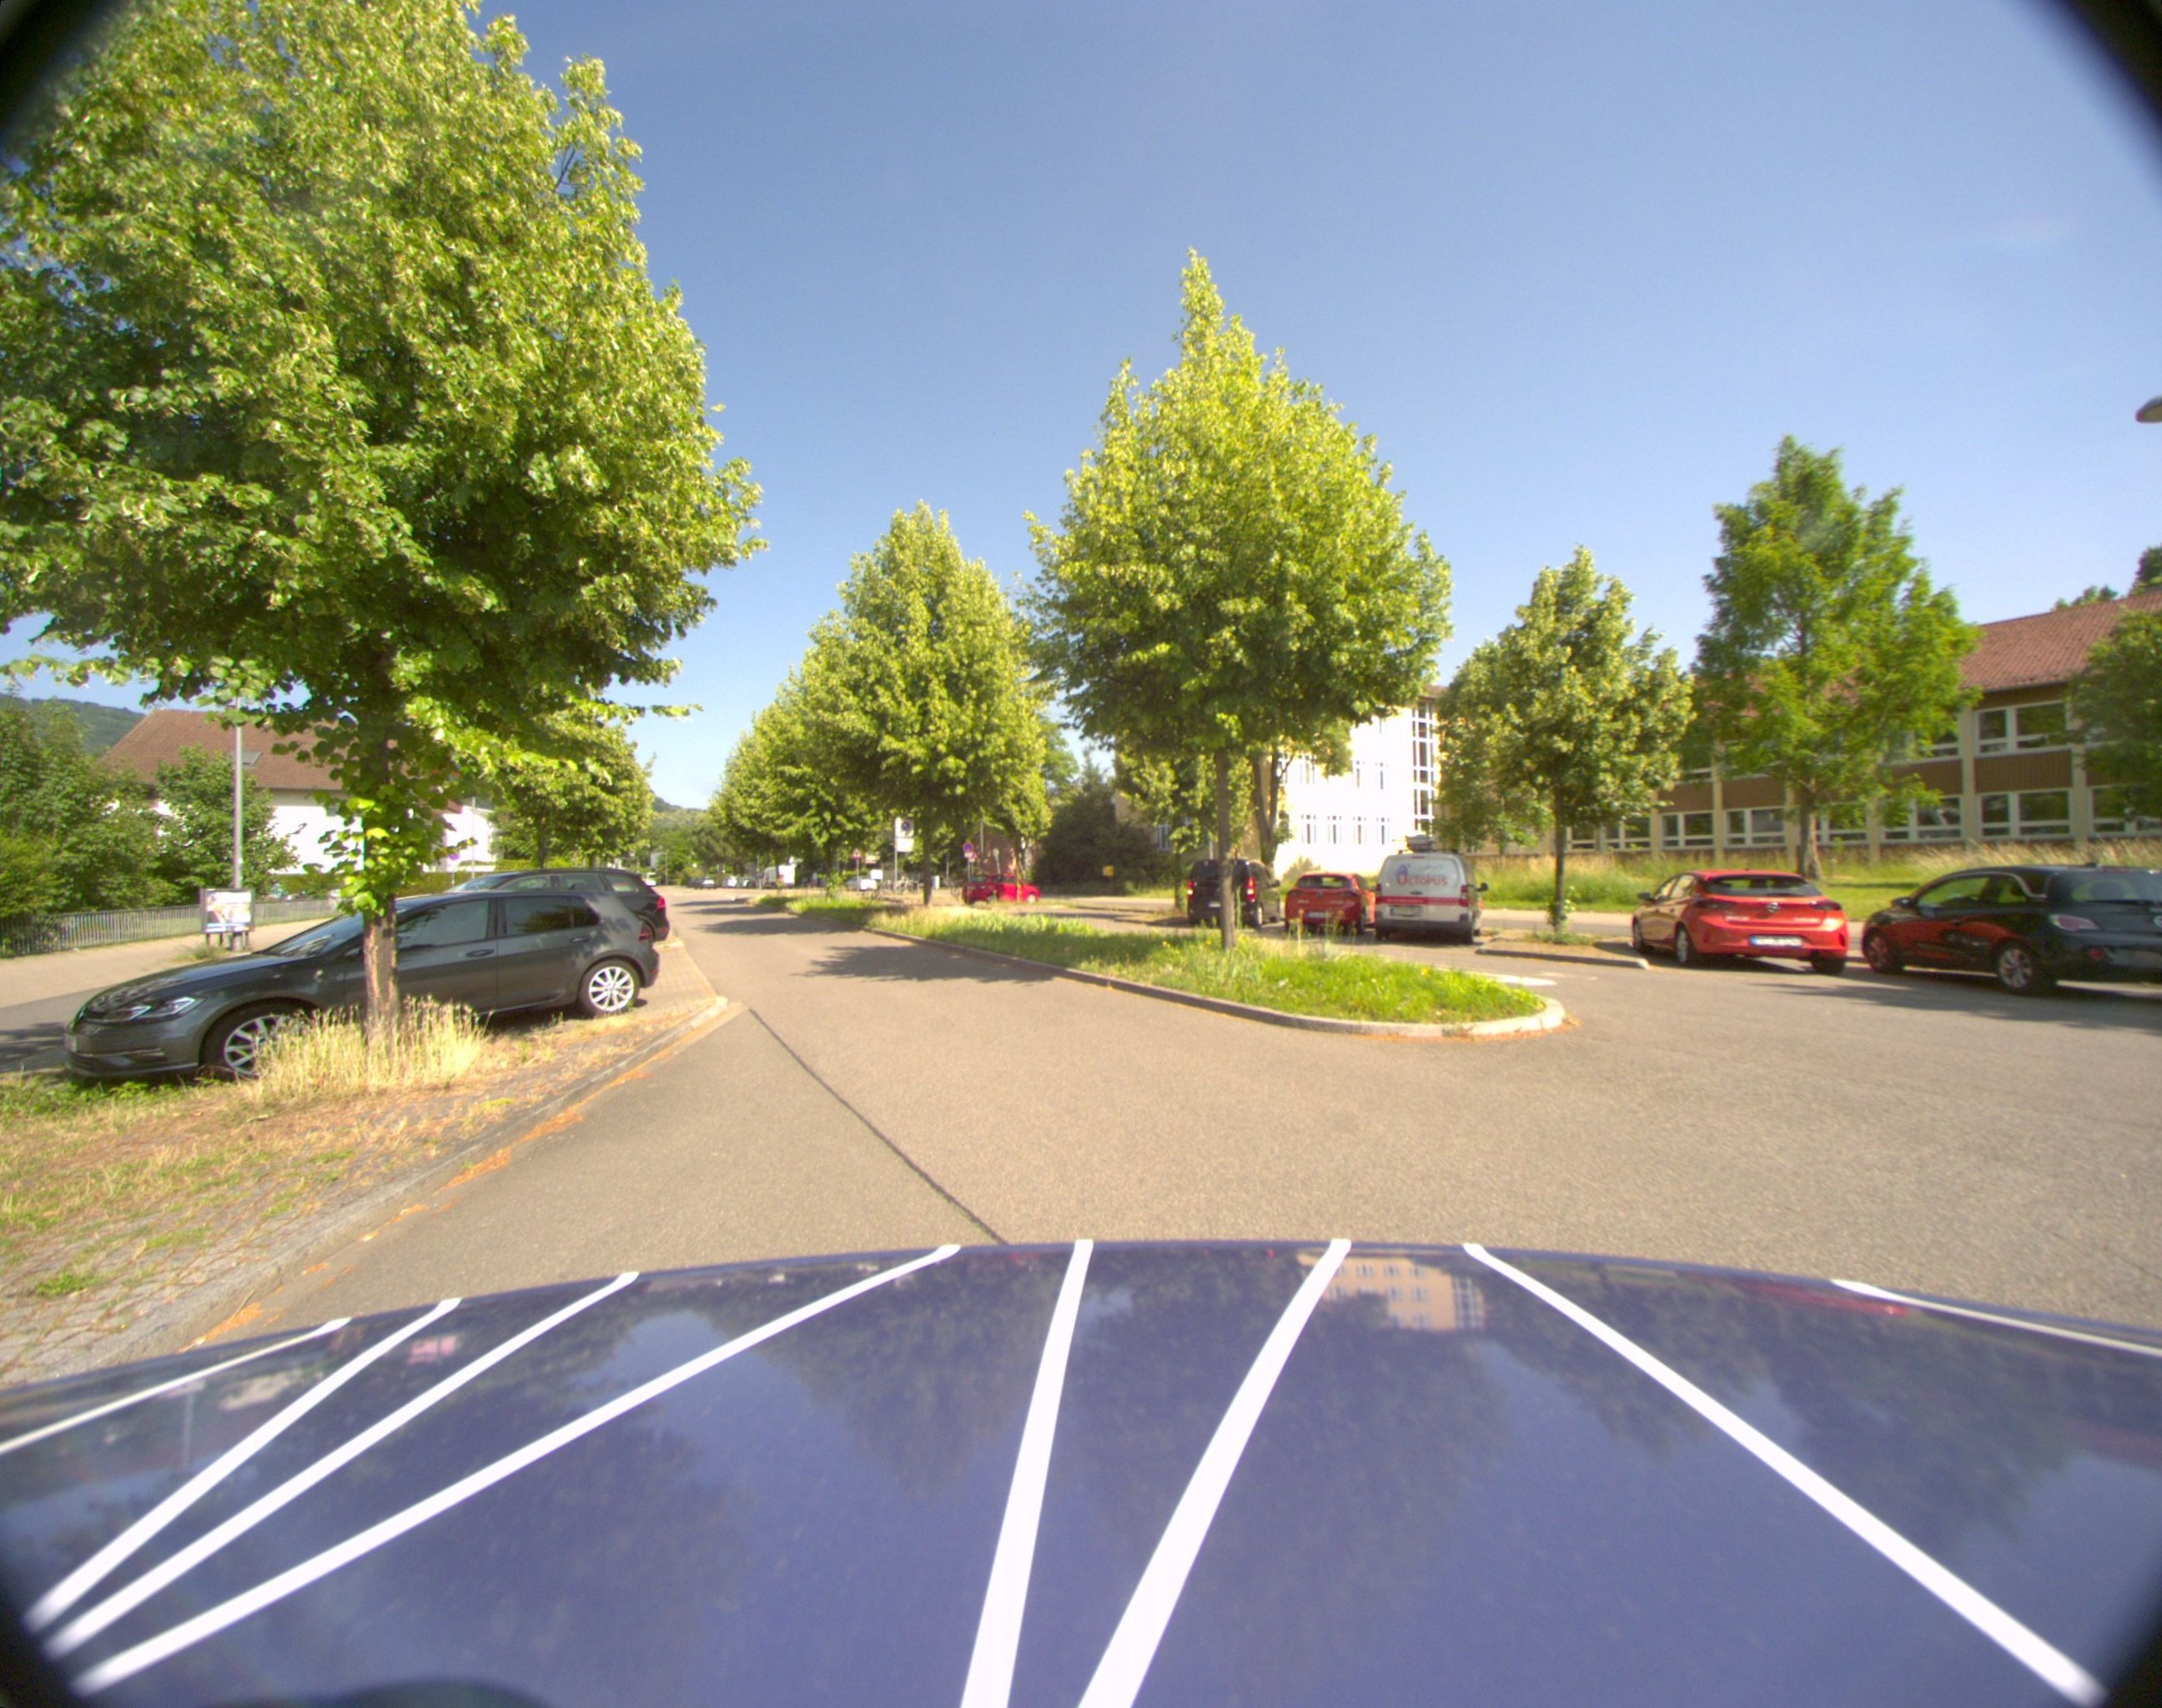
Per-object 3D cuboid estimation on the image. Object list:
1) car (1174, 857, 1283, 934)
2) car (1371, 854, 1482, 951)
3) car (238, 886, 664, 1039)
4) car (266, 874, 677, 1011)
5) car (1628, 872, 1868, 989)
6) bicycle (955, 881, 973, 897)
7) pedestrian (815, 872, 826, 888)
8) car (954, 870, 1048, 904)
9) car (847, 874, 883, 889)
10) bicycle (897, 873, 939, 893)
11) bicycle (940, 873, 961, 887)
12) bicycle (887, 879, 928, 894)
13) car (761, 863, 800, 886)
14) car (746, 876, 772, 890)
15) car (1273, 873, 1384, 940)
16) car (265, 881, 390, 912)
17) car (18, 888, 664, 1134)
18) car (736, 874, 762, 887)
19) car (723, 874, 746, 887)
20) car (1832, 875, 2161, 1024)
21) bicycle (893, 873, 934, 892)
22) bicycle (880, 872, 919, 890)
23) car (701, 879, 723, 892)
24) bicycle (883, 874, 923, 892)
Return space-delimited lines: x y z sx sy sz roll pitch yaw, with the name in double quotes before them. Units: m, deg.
"car" 4.032 1.052 20.202 2.000 1.805 4.196 -2 -2 22
"car" 7.346 0.911 15.948 1.814 1.761 3.782 -1 -1 29
"car" -8.075 1.241 10.176 1.764 1.465 4.008 -2 -1 30
"car" -9.230 1.184 12.050 1.748 1.650 4.756 -1 -1 30
"car" 9.933 1.022 11.698 1.711 1.415 3.849 -1 -1 24
"bicycle" -6.631 1.988 43.123 0.523 0.897 1.267 1 -1 -35
"pedestrian" -28.817 2.849 83.994 0.978 1.769 0.723 -1 -1 -34
"car" -3.619 1.511 34.887 1.994 1.457 4.009 -2 -3 39
"car" -19.158 2.438 67.275 1.729 1.259 3.990 1 -3 -38
"bicycle" -10.564 1.892 49.373 2.557 1.249 0.738 0 -1 -33
"bicycle" -10.985 2.177 63.780 1.713 1.074 0.378 -2 -1 10
"bicycle" -11.681 2.214 51.220 2.557 0.981 0.738 1 -2 -33
"car" -33.177 2.274 83.671 2.100 2.481 5.937 1 -3 -41
"car" -37.332 3.365 88.073 1.729 1.549 3.990 1 -2 -38
"car" 6.030 1.188 18.242 1.851 1.419 3.782 -2 -2 29
"car" -37.855 2.129 38.316 4.136 1.389 1.808 0 -4 -30
"car" -6.717 1.177 7.467 1.995 1.521 4.125 -2 -1 29
"car" -40.208 3.180 91.984 1.729 1.549 4.660 1 -3 -38
"car" -44.143 3.389 96.719 1.729 1.549 3.990 1 -2 -38
"car" 11.308 0.982 9.106 1.852 1.414 3.781 0 -1 20
"bicycle" -11.070 1.886 50.206 2.528 1.248 0.738 1 -2 -33
"bicycle" -12.757 1.916 53.369 2.557 1.248 0.738 1 -2 -33
"car" -44.155 3.717 90.777 1.750 1.537 4.063 1 -1 -35
"bicycle" -12.284 2.008 52.524 2.557 1.231 0.738 1 -2 -33
